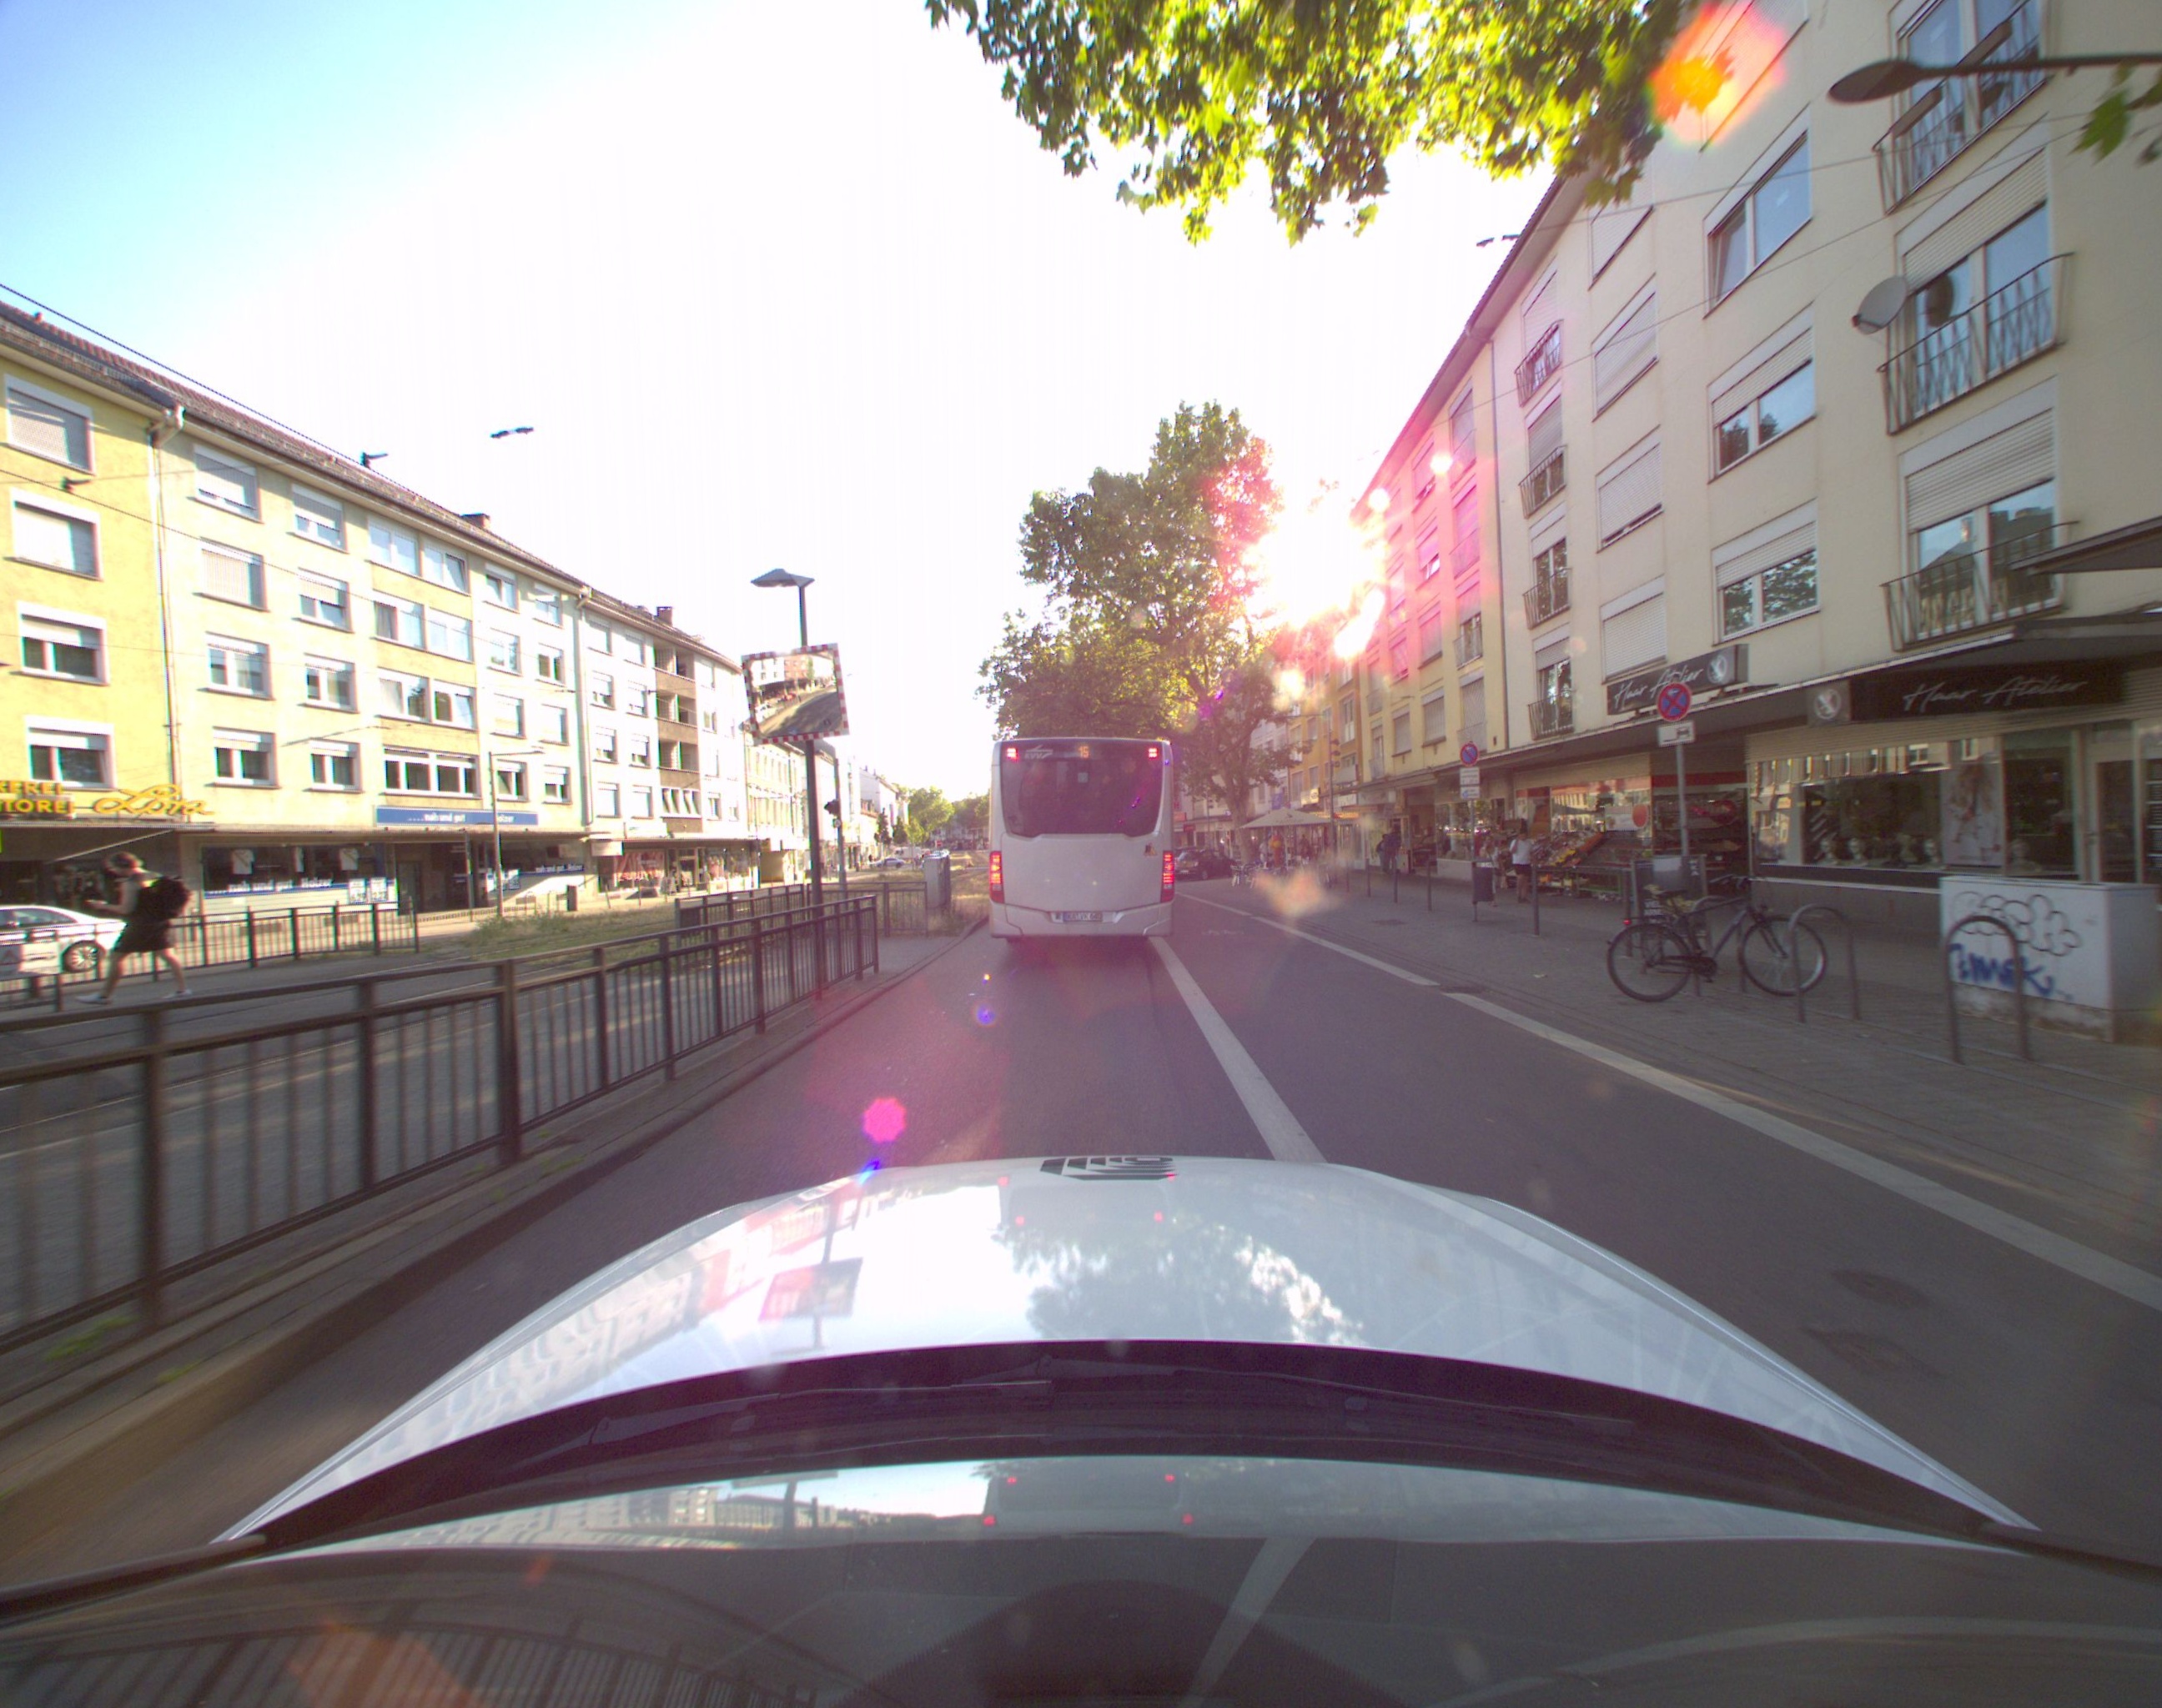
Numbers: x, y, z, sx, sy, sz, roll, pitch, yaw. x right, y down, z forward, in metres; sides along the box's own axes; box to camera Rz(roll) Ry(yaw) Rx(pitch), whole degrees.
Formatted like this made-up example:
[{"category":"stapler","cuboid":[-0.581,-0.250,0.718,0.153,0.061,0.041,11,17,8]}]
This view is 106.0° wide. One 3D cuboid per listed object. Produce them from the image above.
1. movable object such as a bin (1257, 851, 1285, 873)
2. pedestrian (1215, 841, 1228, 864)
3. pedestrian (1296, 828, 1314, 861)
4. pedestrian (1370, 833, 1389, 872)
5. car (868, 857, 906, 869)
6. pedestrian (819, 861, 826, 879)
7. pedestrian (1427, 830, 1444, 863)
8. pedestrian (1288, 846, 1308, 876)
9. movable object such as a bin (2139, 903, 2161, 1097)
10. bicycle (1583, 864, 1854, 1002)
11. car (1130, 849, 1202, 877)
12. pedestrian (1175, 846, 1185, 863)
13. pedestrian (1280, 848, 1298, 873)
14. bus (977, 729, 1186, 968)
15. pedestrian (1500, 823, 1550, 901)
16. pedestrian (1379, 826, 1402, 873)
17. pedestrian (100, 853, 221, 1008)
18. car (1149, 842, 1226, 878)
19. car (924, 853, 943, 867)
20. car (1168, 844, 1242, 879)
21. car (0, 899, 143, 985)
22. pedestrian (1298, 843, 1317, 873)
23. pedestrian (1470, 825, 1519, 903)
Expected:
[{"category":"movable object such as a bin","cuboid":[8.763,0.358,37.506,0.931,1.023,0.833,-1,0,-25]},{"category":"pedestrian","cuboid":[11.338,-0.109,65.621,0.778,1.794,0.763,-2,0,-3]},{"category":"pedestrian","cuboid":[12.996,-0.551,47.232,0.704,1.791,0.788,-6,0,3]},{"category":"pedestrian","cuboid":[12.241,-0.063,33.392,0.619,1.546,0.641,-3,0,28]},{"category":"car","cuboid":[-25.666,1.222,107.820,4.575,1.412,1.977,-3,0,-40]},{"category":"pedestrian","cuboid":[-25.179,1.521,79.411,0.424,1.713,0.508,-3,0,1]},{"category":"pedestrian","cuboid":[14.268,-0.312,32.759,0.424,1.296,0.508,-3,0,1]},{"category":"pedestrian","cuboid":[9.115,0.279,34.225,0.604,1.225,0.744,-2,0,-3]},{"category":"movable object such as a bin","cuboid":[5.393,0.758,3.497,0.717,1.102,0.646,-6,0,11]},{"category":"bicycle","cuboid":[5.836,0.724,7.545,1.895,1.105,0.520,-5,0,10]},{"category":"car","cuboid":[5.068,0.508,48.139,4.200,1.451,1.788,-3,0,-41]},{"category":"pedestrian","cuboid":[10.210,0.007,84.119,0.747,1.679,0.832,-2,2,-9]},{"category":"pedestrian","cuboid":[9.351,0.271,36.592,0.581,1.115,0.750,-1,0,-3]},{"category":"bus","cuboid":[-0.010,-0.119,14.236,2.670,3.083,7.112,-1,1,0]},{"category":"pedestrian","cuboid":[9.470,0.171,17.399,0.619,1.586,0.627,-5,0,3]},{"category":"pedestrian","cuboid":[12.148,-0.189,31.950,0.629,1.803,0.631,-3,0,33]},{"category":"pedestrian","cuboid":[-11.487,0.929,10.183,0.739,1.848,0.589,-3,0,-2]},{"category":"car","cuboid":[5.676,0.306,43.186,4.175,1.681,1.787,-3,0,-44]},{"category":"car","cuboid":[-18.348,0.726,101.159,1.718,1.509,3.473,-5,0,-2]},{"category":"car","cuboid":[6.178,0.367,40.405,3.629,1.540,1.720,-3,0,-44]},{"category":"car","cuboid":[-21.345,1.739,15.426,1.986,1.478,4.412,-1,0,1]},{"category":"pedestrian","cuboid":[9.975,0.180,35.888,0.581,1.275,0.758,-1,0,-3]},{"category":"pedestrian","cuboid":[8.798,0.208,17.348,0.633,1.586,0.627,-5,0,3]}]
